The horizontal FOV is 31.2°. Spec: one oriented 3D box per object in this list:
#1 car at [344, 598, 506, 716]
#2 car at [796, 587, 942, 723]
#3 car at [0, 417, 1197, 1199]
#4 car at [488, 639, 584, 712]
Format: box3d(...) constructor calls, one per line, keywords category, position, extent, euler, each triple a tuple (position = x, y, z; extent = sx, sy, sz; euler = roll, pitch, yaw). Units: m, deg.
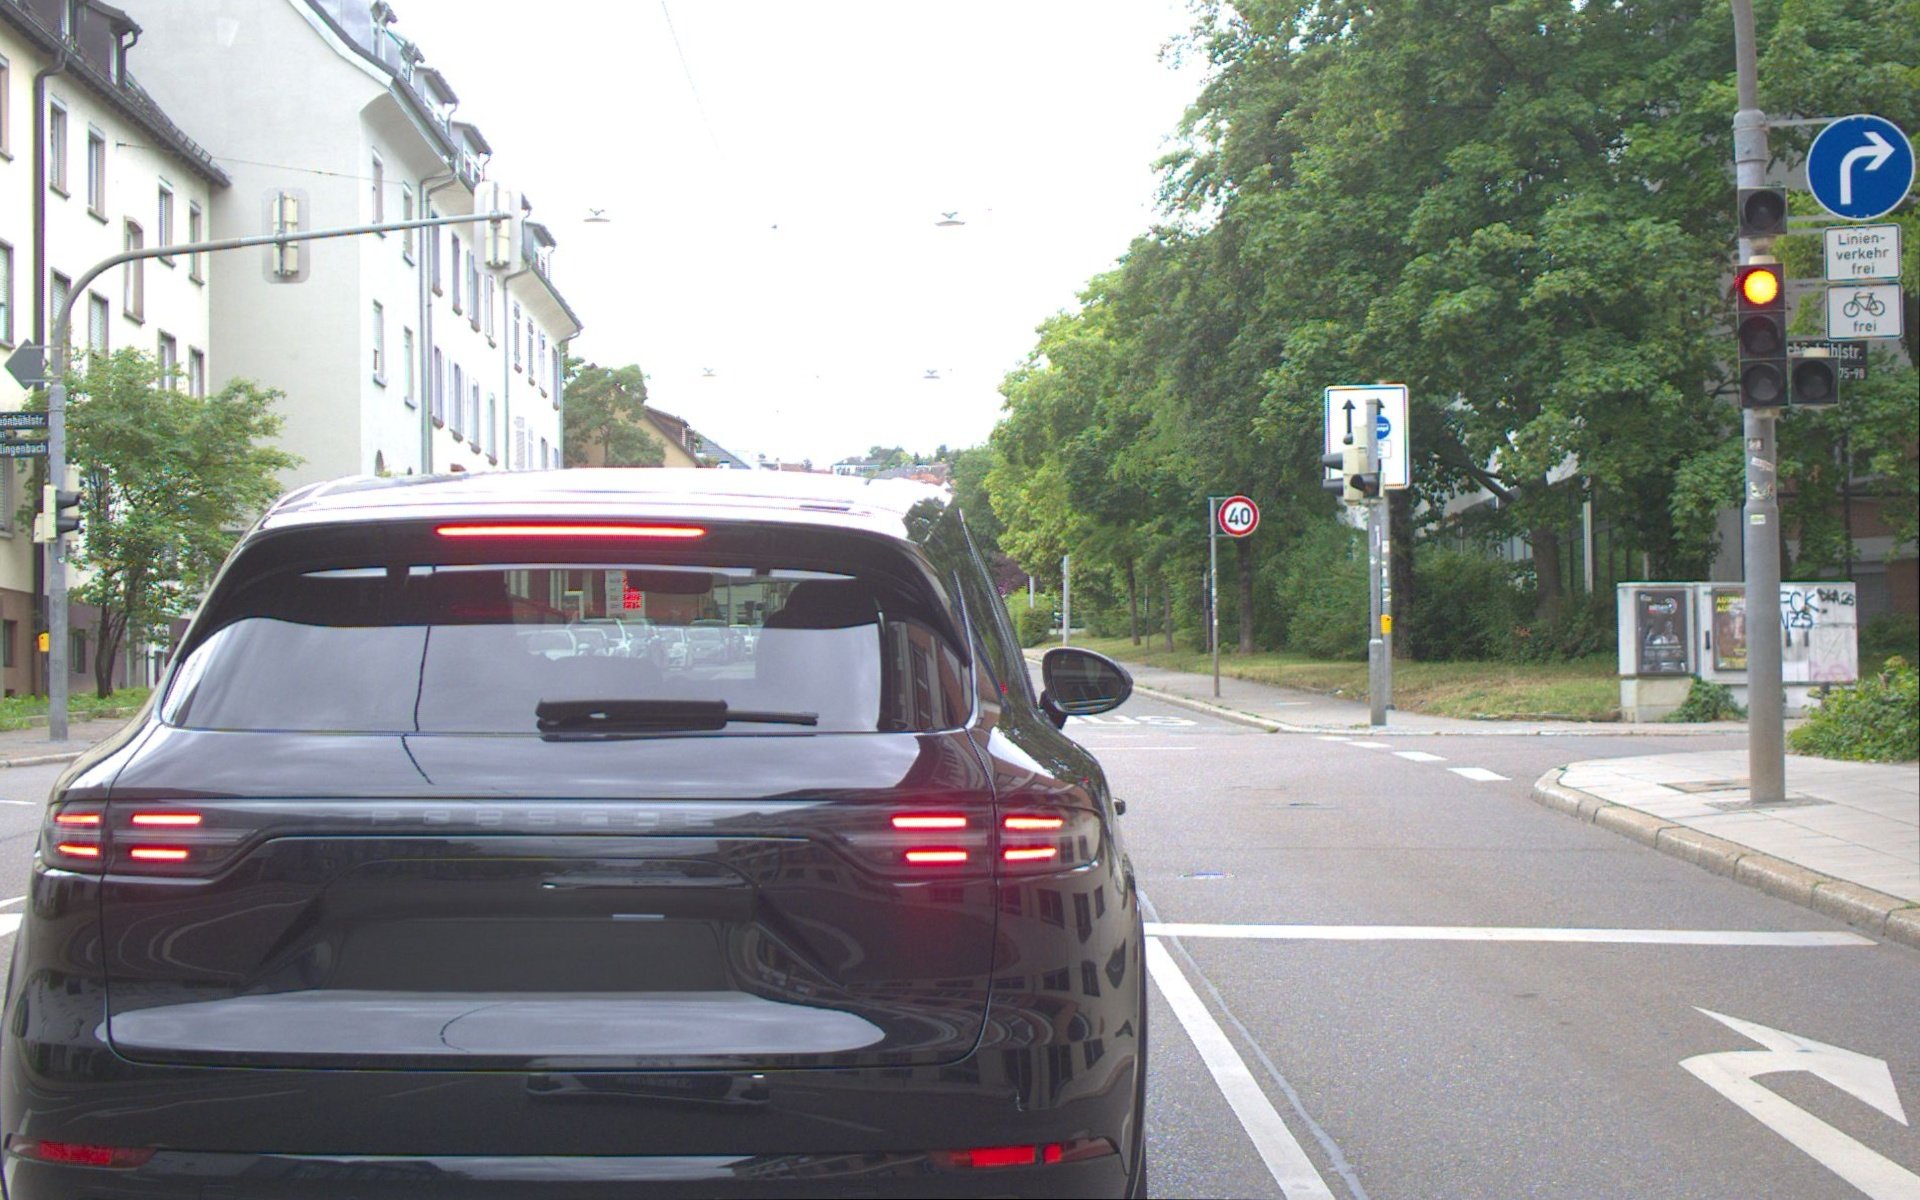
box3d(category="car", position=(-7.697, 0.791, 49.769), extent=(1.664, 1.514, 3.740), euler=(-4, 0, 0))
box3d(category="car", position=(-1.119, 0.637, 42.220), extent=(1.688, 1.547, 3.889), euler=(1, 1, -2))
box3d(category="car", position=(-0.678, 0.564, 7.117), extent=(1.993, 1.691, 4.000), euler=(1, 1, -1))
box3d(category="car", position=(-8.548, 1.505, 69.552), extent=(1.669, 1.357, 4.001), euler=(0, 1, -3))
